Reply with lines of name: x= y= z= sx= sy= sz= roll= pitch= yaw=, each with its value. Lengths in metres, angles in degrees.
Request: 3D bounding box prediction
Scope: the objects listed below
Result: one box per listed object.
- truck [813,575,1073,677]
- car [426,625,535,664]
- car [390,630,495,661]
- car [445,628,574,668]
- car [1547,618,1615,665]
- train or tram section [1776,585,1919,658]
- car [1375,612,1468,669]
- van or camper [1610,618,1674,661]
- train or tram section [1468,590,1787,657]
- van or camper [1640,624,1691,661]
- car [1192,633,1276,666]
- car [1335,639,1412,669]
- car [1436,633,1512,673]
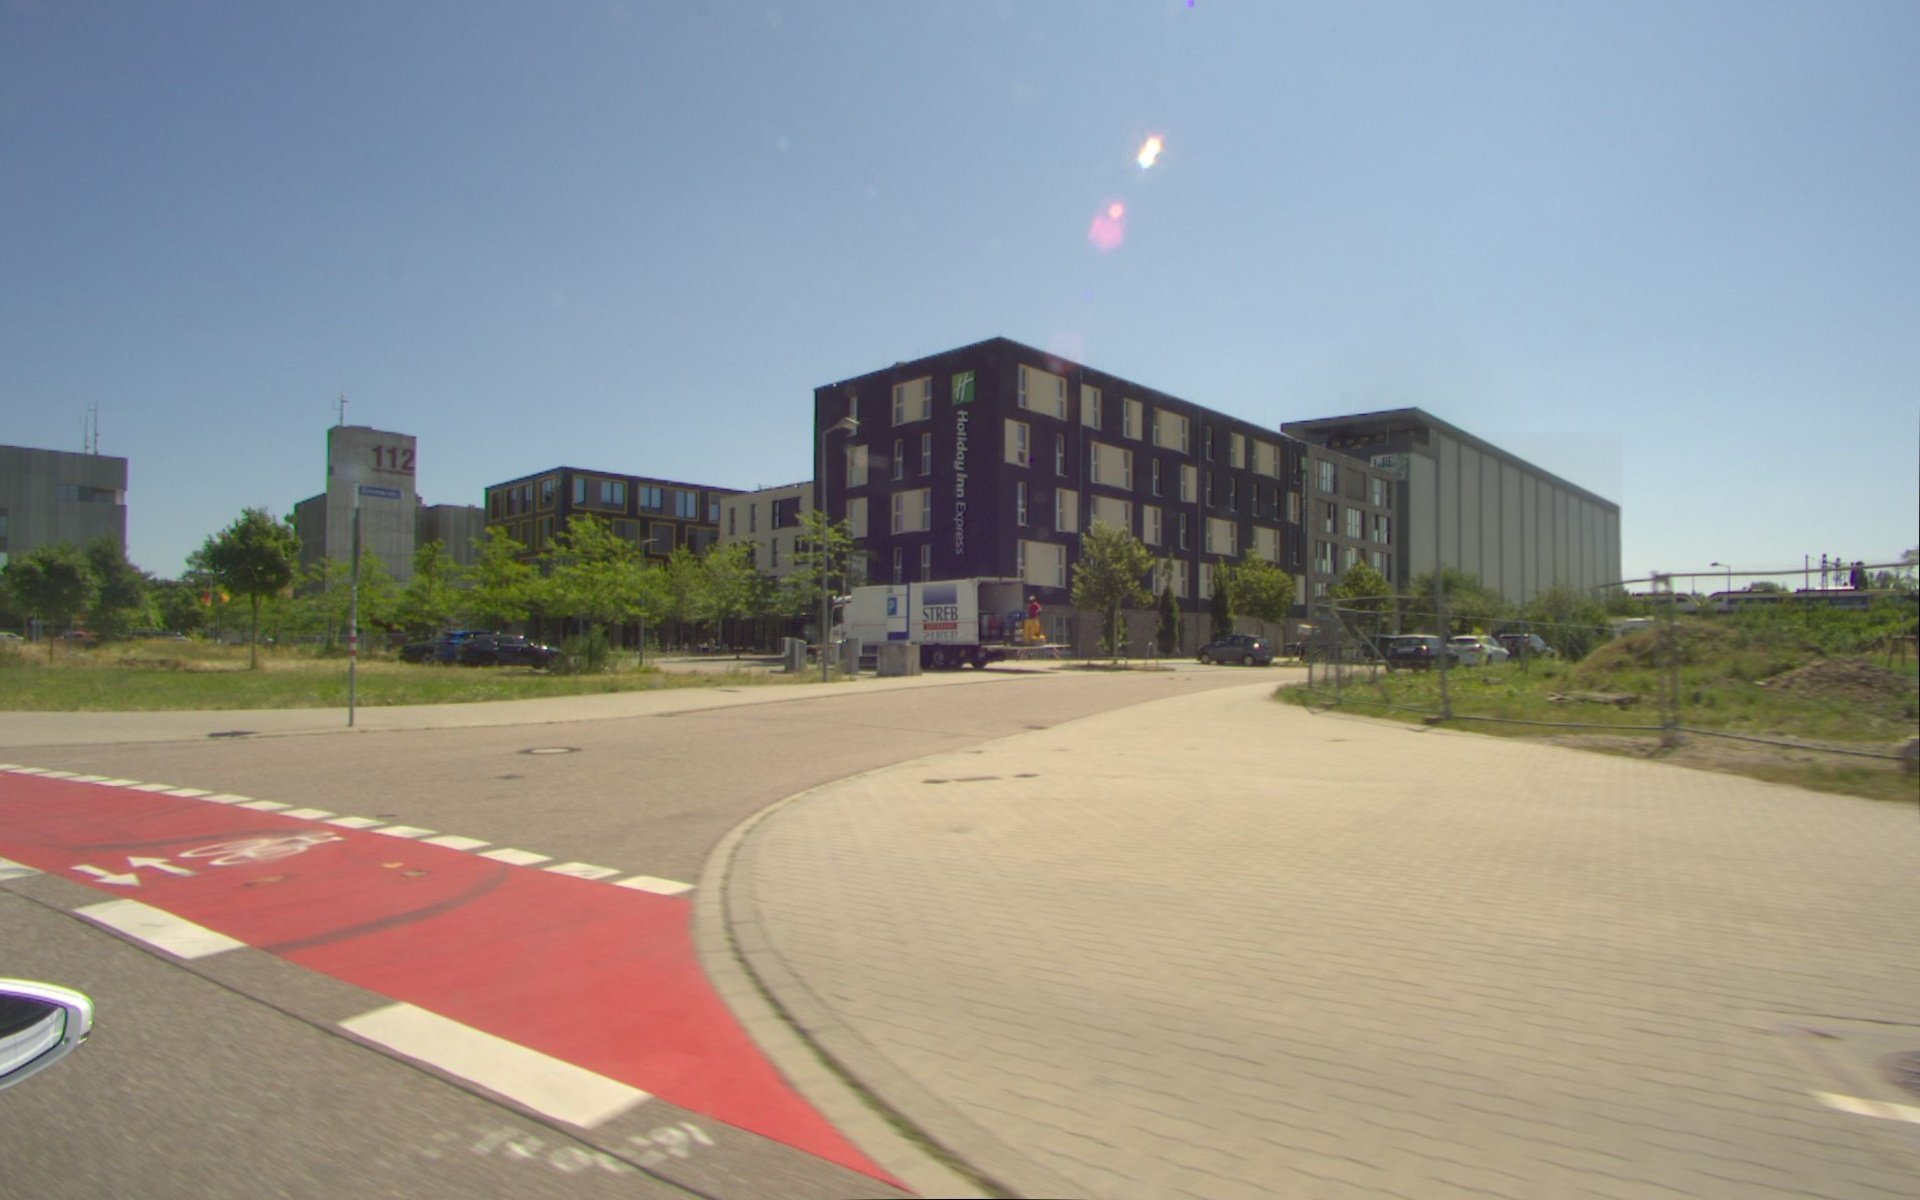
truck: x=-1.092 y=1.050 z=39.900 sx=2.989 sy=3.506 sz=12.022 roll=0 pitch=-1 yaw=-44
car: x=-21.690 y=2.018 z=45.345 sx=1.934 sy=1.672 sz=4.037 roll=-1 pitch=-3 yaw=43
car: x=-25.182 y=2.213 z=48.834 sx=1.938 sy=1.463 sz=4.099 roll=-1 pitch=-3 yaw=38
car: x=-18.677 y=1.989 z=41.628 sx=2.010 sy=1.581 sz=4.471 roll=-1 pitch=-3 yaw=42
car: x=28.661 y=1.964 z=46.185 sx=1.862 sy=2.038 sz=3.883 roll=-3 pitch=-5 yaw=44
train or tram section: x=139.763 y=3.045 z=135.749 sx=9.498 sy=10.050 sz=44.410 roll=2 pitch=-3 yaw=-40
car: x=17.495 y=1.546 z=37.878 sx=3.877 sy=2.039 sz=1.863 roll=2 pitch=-2 yaw=-42
van or camper: x=46.391 y=2.703 z=68.008 sx=2.539 sy=2.811 sz=6.369 roll=-1 pitch=-2 yaw=44
train or tram section: x=111.147 y=4.142 z=170.021 sx=9.498 sy=10.050 sz=44.409 roll=2 pitch=-3 yaw=-40
van or camper: x=52.063 y=3.133 z=73.838 sx=2.378 sy=2.567 sz=5.391 roll=-1 pitch=-2 yaw=43
car: x=13.125 y=2.360 z=48.065 sx=3.544 sy=1.471 sz=1.681 roll=-1 pitch=-3 yaw=43
car: x=24.868 y=3.216 z=60.245 sx=3.973 sy=1.721 sz=1.661 roll=-1 pitch=-2 yaw=42
car: x=21.344 y=2.169 z=41.532 sx=1.731 sy=1.577 sz=4.009 roll=-1 pitch=-3 yaw=44
